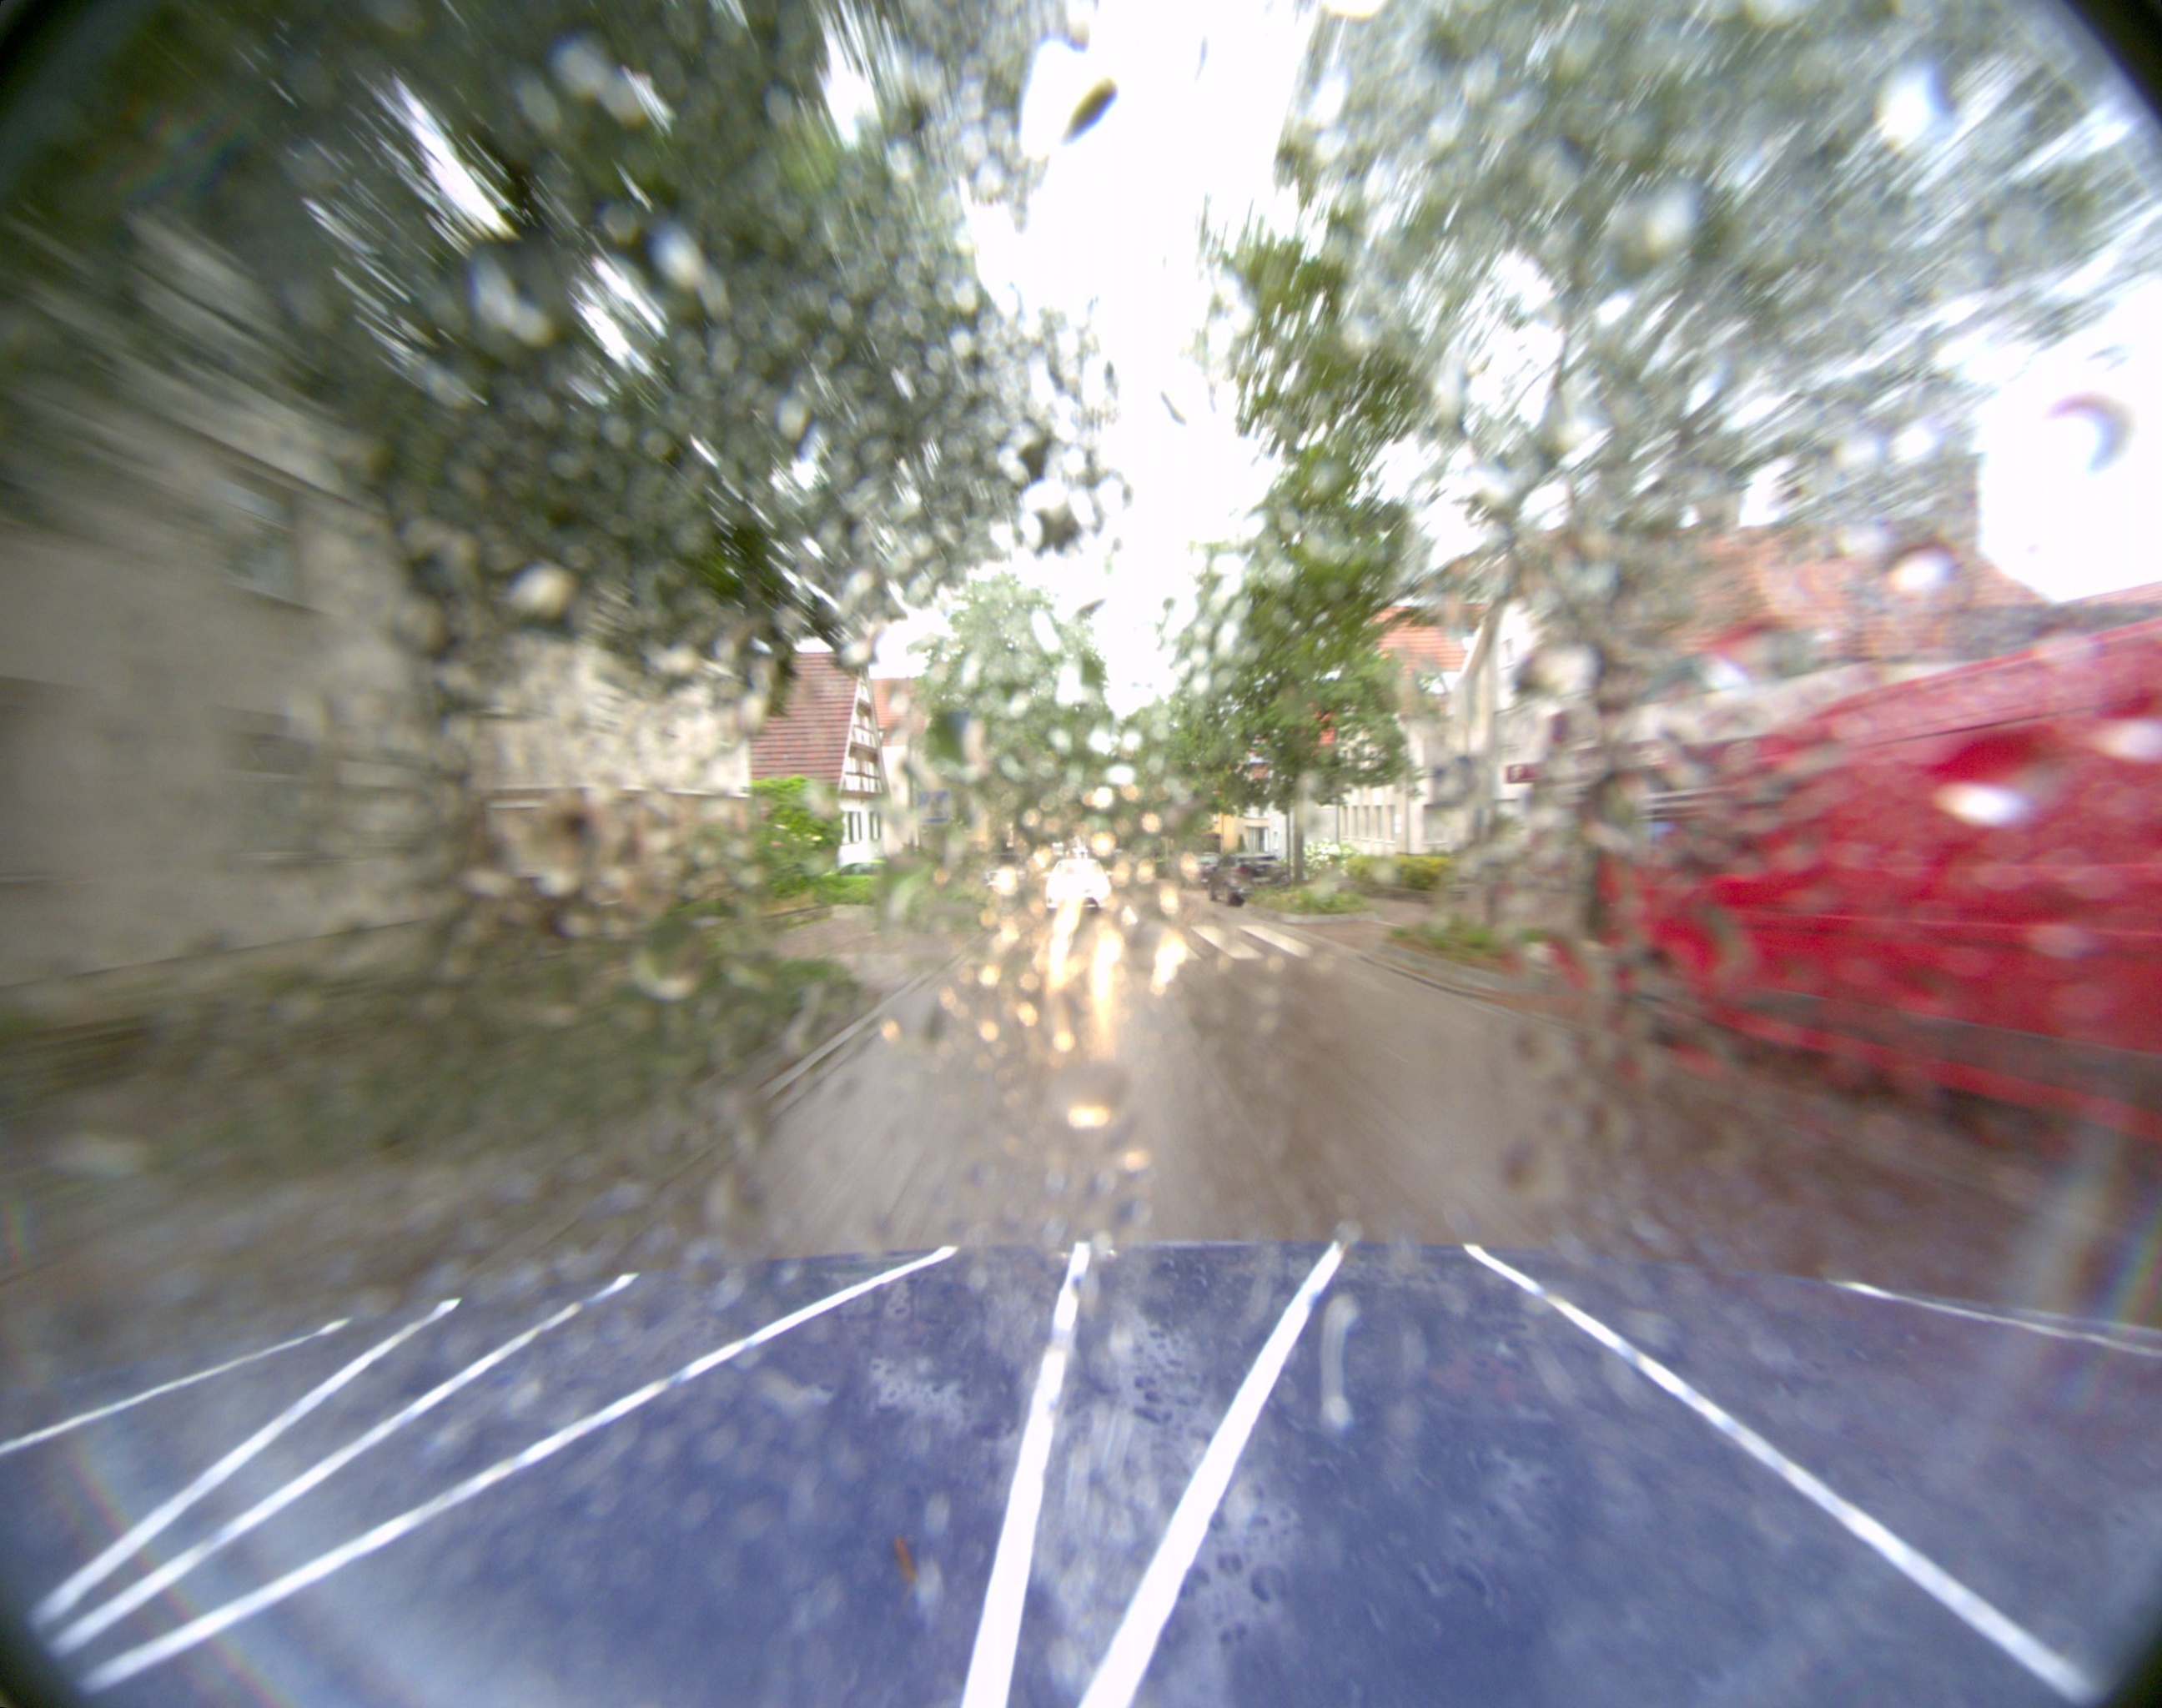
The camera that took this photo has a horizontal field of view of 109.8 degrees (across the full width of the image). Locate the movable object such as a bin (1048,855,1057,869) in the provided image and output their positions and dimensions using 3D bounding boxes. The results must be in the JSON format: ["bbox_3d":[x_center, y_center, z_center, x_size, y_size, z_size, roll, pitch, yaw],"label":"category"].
[{"bbox_3d":[-2.293,0.625,60.971,0.645,1.076,0.540,-2,1,-4],"label":"movable object such as a bin"}]

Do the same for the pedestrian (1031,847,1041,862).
[{"bbox_3d":[-4.866,0.065,82.124,0.955,1.642,0.794,0,2,14],"label":"pedestrian"}]

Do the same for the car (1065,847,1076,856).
[{"bbox_3d":[-1.581,-0.378,119.184,1.685,1.391,3.794,-1,1,0],"label":"car"}]

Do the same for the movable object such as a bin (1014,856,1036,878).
[{"bbox_3d":[-3.462,0.807,47.145,1.227,1.308,1.134,-1,1,3],"label":"movable object such as a bin"}]

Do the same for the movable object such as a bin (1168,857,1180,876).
[{"bbox_3d":[5.453,0.752,44.538,0.612,1.105,0.564,-1,1,2],"label":"movable object such as a bin"}]

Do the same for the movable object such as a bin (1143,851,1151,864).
[{"bbox_3d":[5.524,0.273,63.545,0.596,1.056,0.545,-4,1,4],"label":"movable object such as a bin"}]

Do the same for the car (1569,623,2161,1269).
[{"bbox_3d":[5.317,0.331,3.724,2.309,2.468,5.786,-2,0,3],"label":"car"}]

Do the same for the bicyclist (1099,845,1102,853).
[{"bbox_3d":[4.366,-1.072,172.330,0.629,1.721,0.880,-2,1,0],"label":"bicyclist"}]

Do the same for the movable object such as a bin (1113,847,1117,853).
[{"bbox_3d":[5.912,-0.644,132.911,0.665,1.068,0.596,-1,2,5],"label":"movable object such as a bin"}]

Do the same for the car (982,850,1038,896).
[{"bbox_3d":[-2.996,0.761,32.902,1.919,1.782,4.487,-2,1,0],"label":"car"}]

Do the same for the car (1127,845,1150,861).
[{"bbox_3d":[5.323,-0.124,70.791,1.776,1.381,4.545,-3,1,2],"label":"car"}]

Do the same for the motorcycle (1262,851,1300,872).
[{"bbox_3d":[11.694,0.409,44.494,1.987,1.155,0.818,-2,1,1],"label":"motorcycle"}]

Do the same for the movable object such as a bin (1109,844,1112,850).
[{"bbox_3d":[5.950,-1.388,153.068,0.618,1.053,0.568,-4,1,-1],"label":"movable object such as a bin"}]

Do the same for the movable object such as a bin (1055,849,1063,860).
[{"bbox_3d":[-2.383,0.047,81.648,0.799,1.069,0.878,-2,1,0],"label":"movable object such as a bin"}]

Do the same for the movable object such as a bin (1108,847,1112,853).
[{"bbox_3d":[5.075,-0.644,132.998,0.665,1.068,0.596,-1,2,5],"label":"movable object such as a bin"}]

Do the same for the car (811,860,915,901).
[{"bbox_3d":[-7.895,0.945,27.715,3.374,1.422,1.630,0,1,-3],"label":"car"}]

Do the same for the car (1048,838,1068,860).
[{"bbox_3d":[-2.687,-0.590,89.792,2.146,2.446,5.434,-2,1,0],"label":"car"}]

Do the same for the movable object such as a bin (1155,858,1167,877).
[{"bbox_3d":[4.677,0.778,44.618,0.644,1.105,0.536,-1,1,2],"label":"movable object such as a bin"}]

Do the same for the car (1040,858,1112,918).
[{"bbox_3d":[-0.055,0.913,21.937,1.828,1.451,3.875,-2,1,2],"label":"car"}]

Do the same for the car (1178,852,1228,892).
[{"bbox_3d":[5.234,0.732,33.014,1.651,1.524,3.866,-3,0,2],"label":"car"}]

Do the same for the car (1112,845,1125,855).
[{"bbox_3d":[5.333,-0.617,108.020,1.754,1.388,3.795,-2,1,1],"label":"car"}]

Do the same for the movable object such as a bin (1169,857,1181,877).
[{"bbox_3d":[5.412,0.756,43.865,0.612,1.105,0.564,-1,1,2],"label":"movable object such as a bin"}]

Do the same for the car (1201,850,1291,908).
[{"bbox_3d":[5.000,0.710,23.521,1.776,1.544,3.999,-3,0,-1],"label":"car"}]
